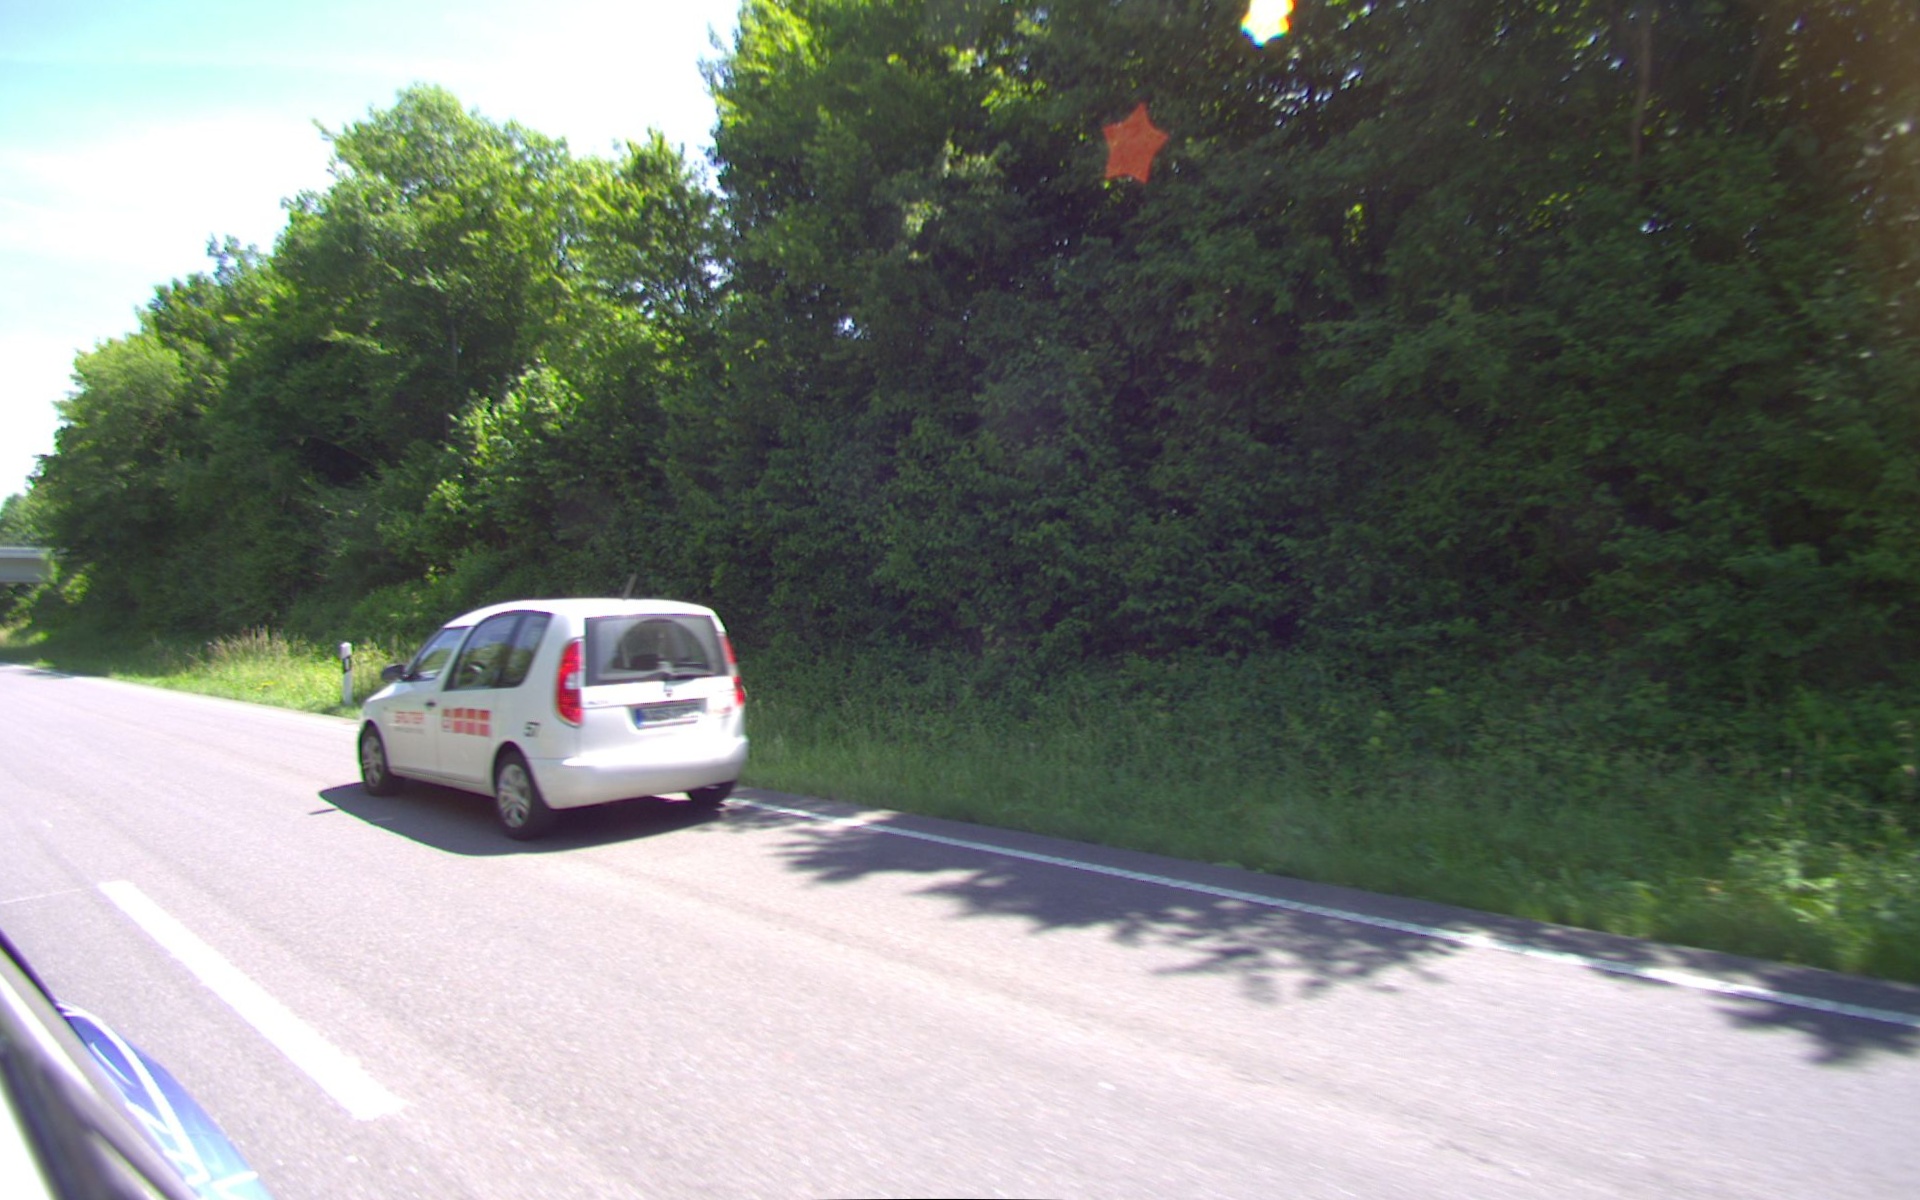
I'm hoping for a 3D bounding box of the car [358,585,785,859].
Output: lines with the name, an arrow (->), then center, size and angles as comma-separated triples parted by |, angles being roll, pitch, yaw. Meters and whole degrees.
car -> -3.131, 0.757, 7.769 | 3.791, 1.604, 1.496 | -2, -1, 42
